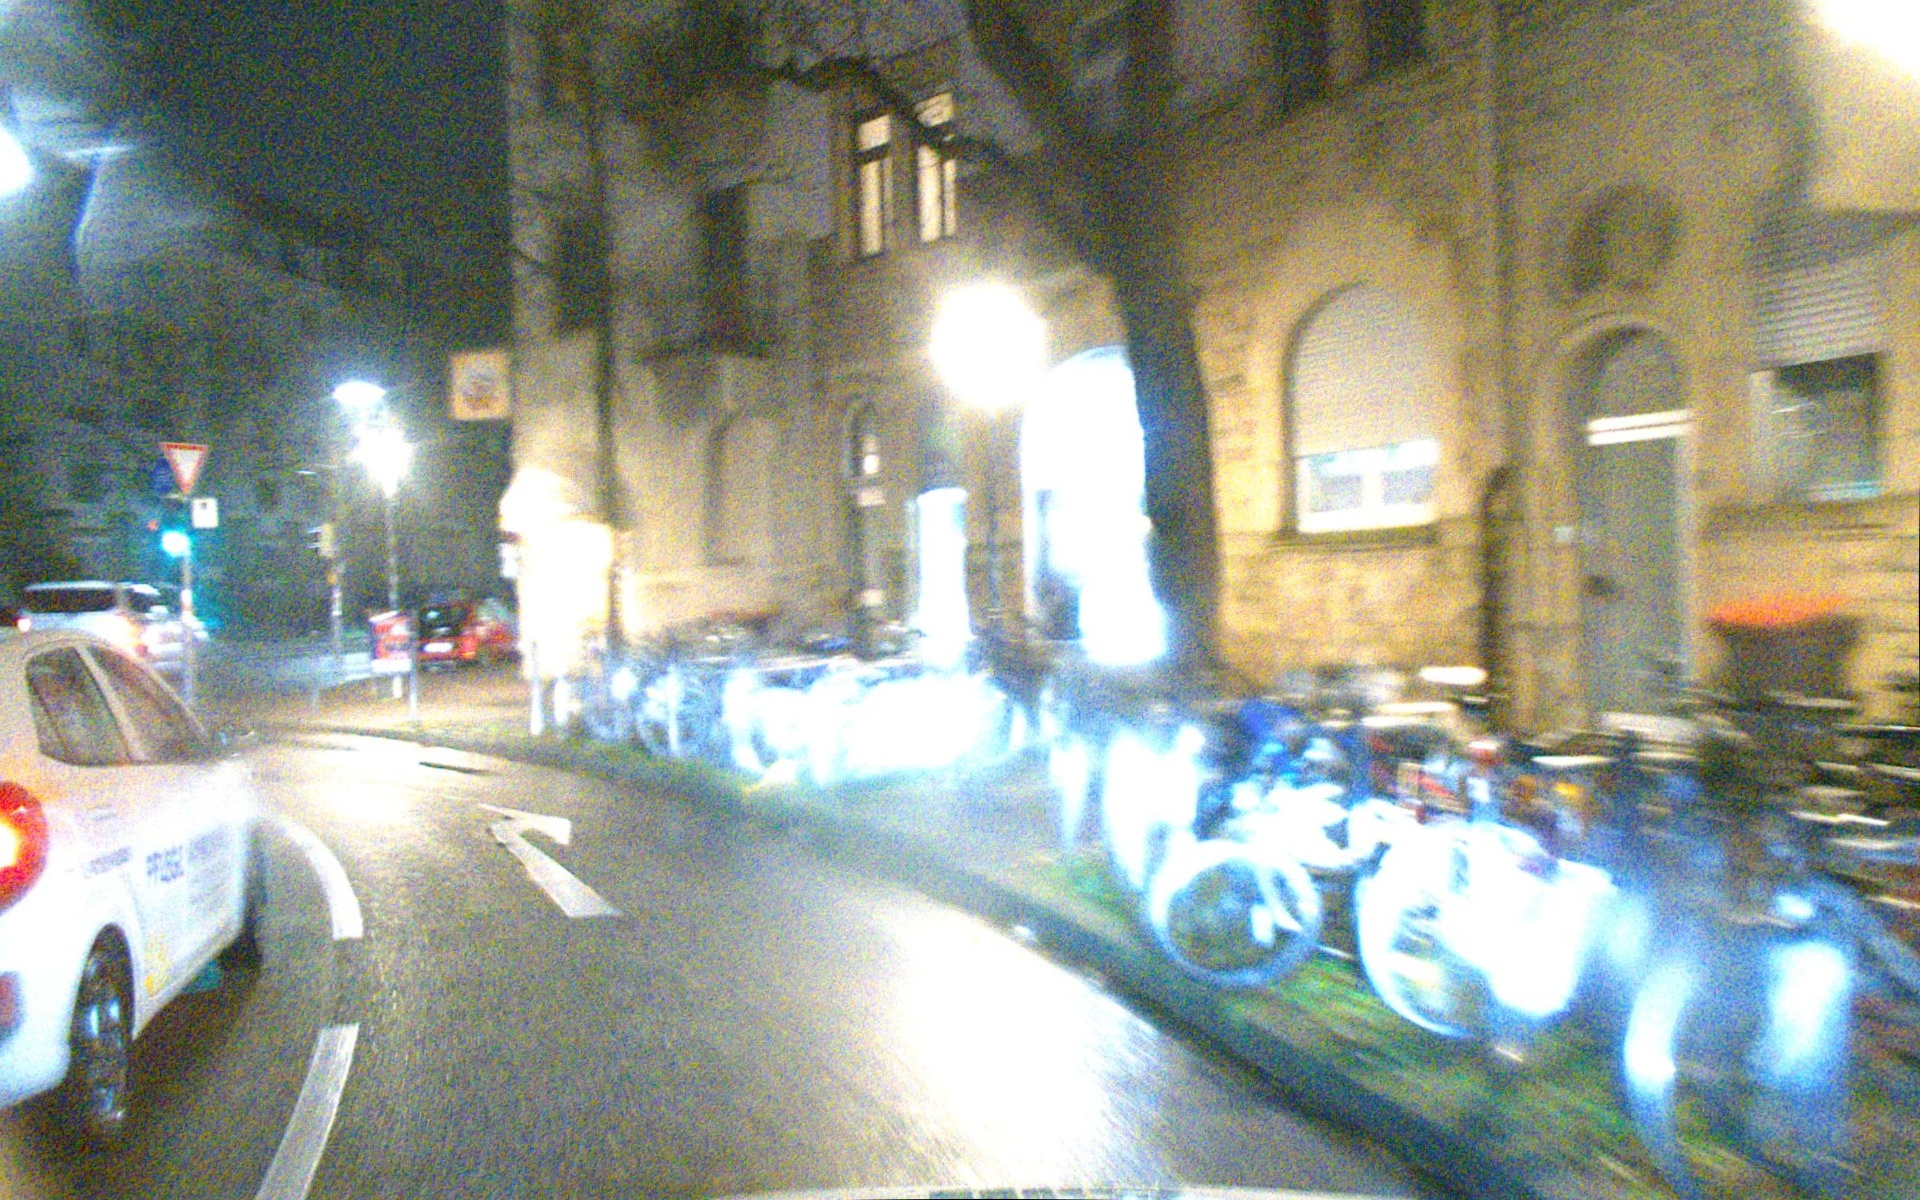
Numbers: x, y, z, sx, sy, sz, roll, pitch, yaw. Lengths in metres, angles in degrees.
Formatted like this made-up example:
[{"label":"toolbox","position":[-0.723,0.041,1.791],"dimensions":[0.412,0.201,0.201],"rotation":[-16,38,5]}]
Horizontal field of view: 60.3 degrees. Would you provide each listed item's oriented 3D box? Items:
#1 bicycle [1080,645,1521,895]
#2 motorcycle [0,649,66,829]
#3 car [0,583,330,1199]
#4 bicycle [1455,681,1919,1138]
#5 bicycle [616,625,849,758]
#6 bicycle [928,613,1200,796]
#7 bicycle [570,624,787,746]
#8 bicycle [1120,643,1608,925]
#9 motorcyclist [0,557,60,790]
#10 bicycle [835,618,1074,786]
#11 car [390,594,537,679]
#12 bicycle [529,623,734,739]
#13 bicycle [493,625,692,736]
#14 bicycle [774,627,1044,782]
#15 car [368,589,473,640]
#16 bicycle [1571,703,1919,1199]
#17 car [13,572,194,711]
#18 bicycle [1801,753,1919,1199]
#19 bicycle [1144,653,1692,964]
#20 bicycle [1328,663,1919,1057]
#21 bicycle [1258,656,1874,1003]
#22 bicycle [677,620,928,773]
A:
[{"label":"bicycle","position":[1.594,0.778,7.885],"dimensions":[1.931,1.024,0.641],"rotation":[-2,0,-6]},{"label":"motorcycle","position":[-7.323,1.006,12.597],"dimensions":[0.782,1.234,2.225],"rotation":[0,-1,-32]},{"label":"car","position":[-3.429,0.753,5.618],"dimensions":[1.886,1.542,3.585],"rotation":[-2,1,-13]},{"label":"bicycle","position":[2.412,0.767,4.480],"dimensions":[1.931,1.024,0.641],"rotation":[-2,0,-6]},{"label":"bicycle","position":[-1.996,0.777,14.660],"dimensions":[1.952,1.024,0.634],"rotation":[-2,0,-35]},{"label":"bicycle","position":[0.741,0.686,11.485],"dimensions":[1.804,1.106,0.712],"rotation":[-2,0,-35]},{"label":"bicycle","position":[-2.682,0.784,15.893],"dimensions":[1.952,1.024,0.634],"rotation":[-2,0,-35]},{"label":"bicycle","position":[1.724,0.763,7.194],"dimensions":[1.931,1.052,0.641],"rotation":[-2,0,-6]},{"label":"motorcyclist","position":[-7.303,0.547,12.559],"dimensions":[0.782,1.724,0.811],"rotation":[0,-1,-32]},{"label":"bicycle","position":[0.001,0.714,12.275],"dimensions":[0.630,1.072,1.965],"rotation":[-2,0,40]},{"label":"car","position":[-10.732,0.755,35.999],"dimensions":[1.613,1.551,3.583],"rotation":[-6,0,8]},{"label":"bicycle","position":[-3.351,0.806,16.986],"dimensions":[1.952,1.053,0.634],"rotation":[-2,0,-35]},{"label":"bicycle","position":[-3.877,0.828,17.525],"dimensions":[1.952,1.024,0.634],"rotation":[-2,0,-35]},{"label":"bicycle","position":[-0.391,0.757,12.330],"dimensions":[1.931,1.024,0.641],"rotation":[-2,0,-6]},{"label":"car","position":[-22.145,0.535,68.147],"dimensions":[1.951,1.857,5.314],"rotation":[1,2,8]},{"label":"bicycle","position":[2.490,0.766,3.769],"dimensions":[1.931,1.024,0.687],"rotation":[-2,0,-6]},{"label":"car","position":[-16.752,0.723,32.663],"dimensions":[2.182,2.484,5.359],"rotation":[-1,1,-17]},{"label":"bicycle","position":[2.607,0.770,2.917],"dimensions":[1.889,1.004,0.729],"rotation":[-2,0,-6]},{"label":"bicycle","position":[1.749,0.773,6.446],"dimensions":[1.931,1.024,0.641],"rotation":[-2,0,-6]},{"label":"bicycle","position":[2.213,0.766,5.198],"dimensions":[1.931,1.024,0.641],"rotation":[-2,0,-6]},{"label":"bicycle","position":[2.100,0.765,5.839],"dimensions":[1.931,1.024,0.641],"rotation":[-2,0,-6]},{"label":"bicycle","position":[-1.262,0.749,13.476],"dimensions":[1.952,1.083,0.634],"rotation":[-2,0,-35]}]
